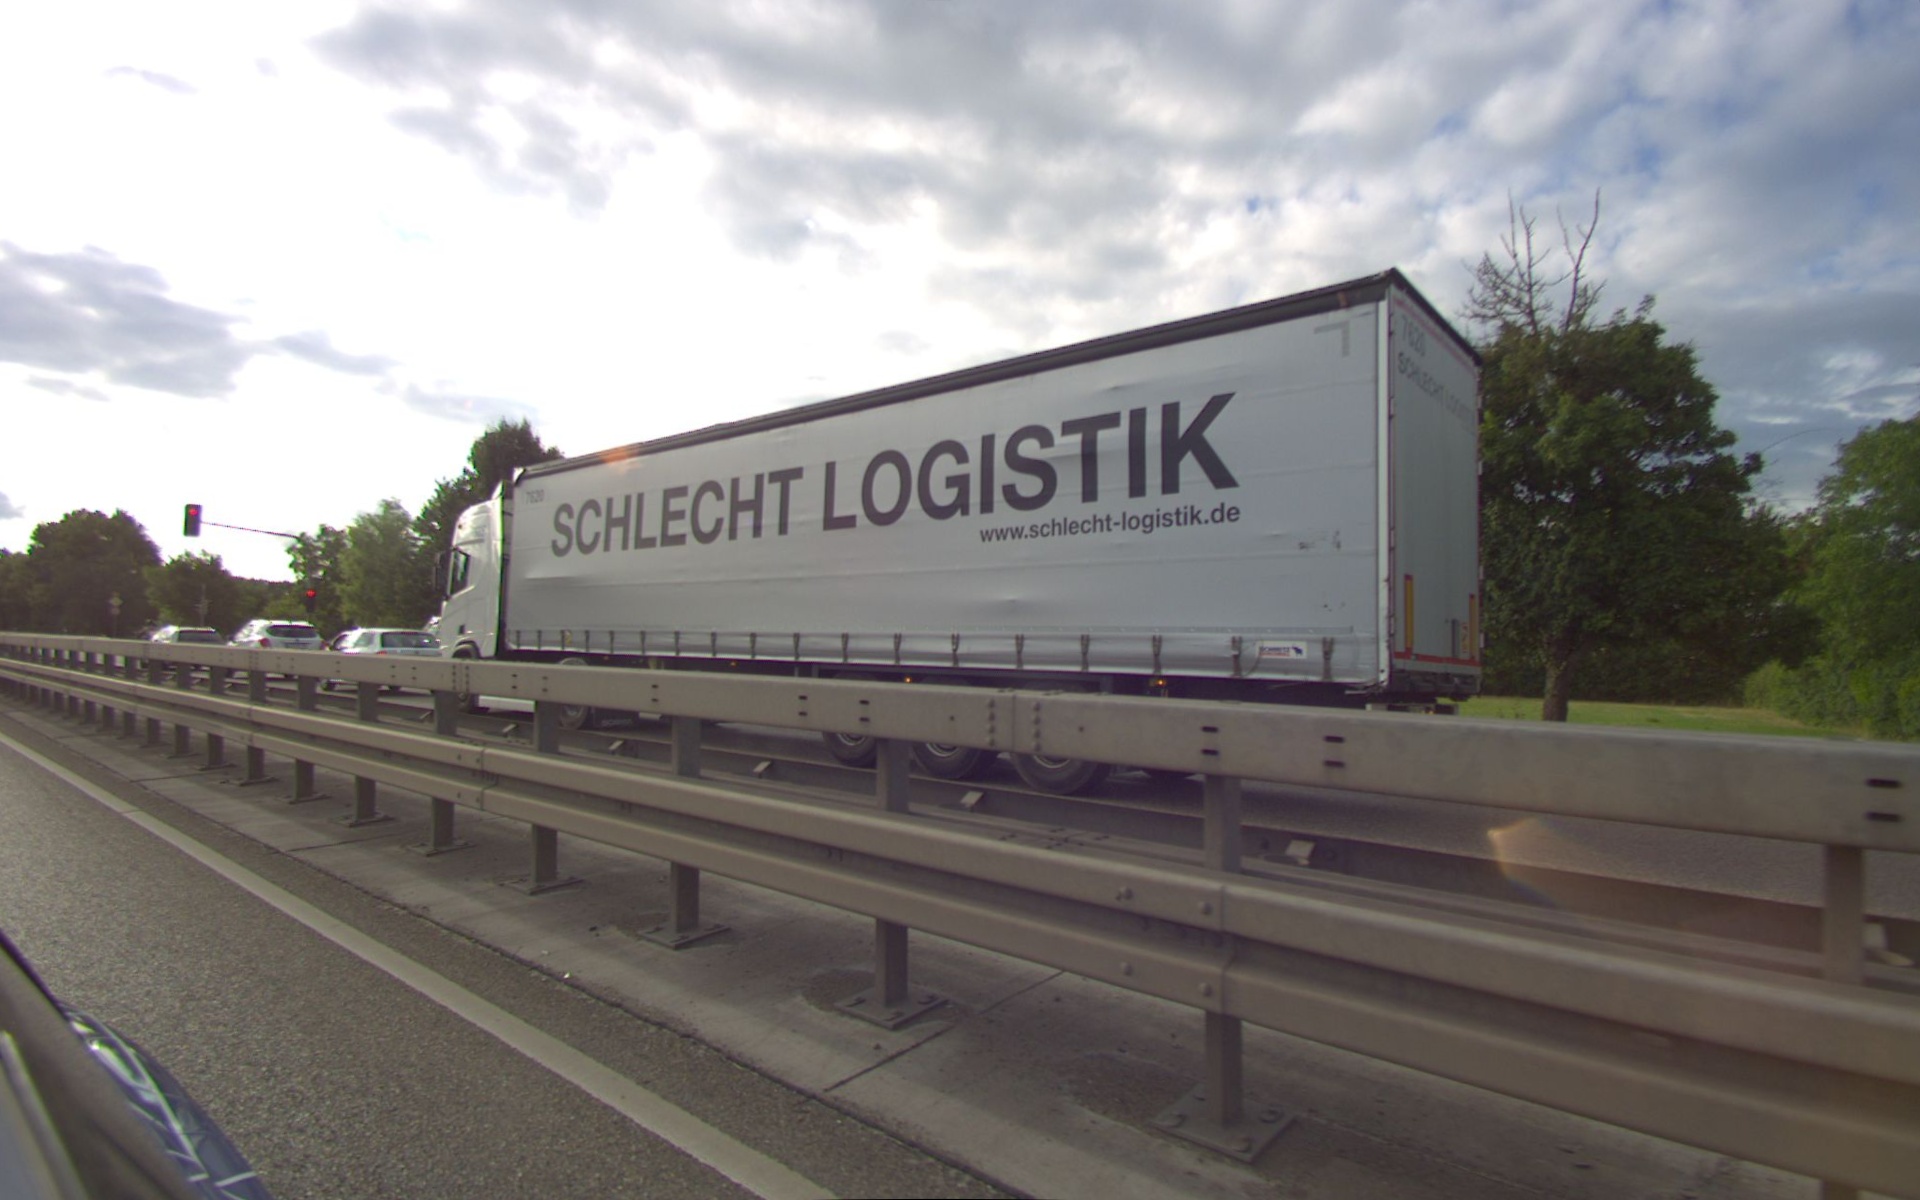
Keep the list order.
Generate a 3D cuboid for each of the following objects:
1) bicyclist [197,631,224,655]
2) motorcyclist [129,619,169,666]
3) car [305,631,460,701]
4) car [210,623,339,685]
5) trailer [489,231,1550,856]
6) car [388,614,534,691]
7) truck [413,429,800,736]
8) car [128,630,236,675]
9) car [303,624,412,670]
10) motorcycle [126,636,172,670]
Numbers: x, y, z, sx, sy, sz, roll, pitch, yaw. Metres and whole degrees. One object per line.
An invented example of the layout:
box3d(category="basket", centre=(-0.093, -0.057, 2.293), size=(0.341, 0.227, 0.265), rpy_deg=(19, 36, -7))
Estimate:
box3d(category="bicyclist", centre=(-46.777, 2.666, 63.133), size=(1.208, 1.462, 0.816), rpy_deg=(3, -4, -44))
box3d(category="motorcyclist", centre=(-30.482, 1.610, 38.036), size=(1.275, 1.722, 0.907), rpy_deg=(-1, -4, 41))
box3d(category="car", centre=(-13.251, 1.452, 23.137), size=(4.157, 1.455, 1.770), rpy_deg=(-1, -3, 41))
box3d(category="car", centre=(-19.462, 1.504, 28.665), size=(4.402, 1.622, 1.888), rpy_deg=(-1, -3, 41))
box3d(category="trailer", centre=(-0.915, -0.199, 12.606), size=(13.908, 4.182, 3.429), rpy_deg=(-1, -4, 41))
box3d(category="car", centre=(-14.492, 1.479, 29.283), size=(4.945, 2.029, 1.972), rpy_deg=(-1, -4, 41))
box3d(category="truck", centre=(-6.055, -0.103, 17.034), size=(6.046, 4.182, 3.438), rpy_deg=(-1, -5, 41))
box3d(category="car", centre=(-26.764, 1.759, 34.766), size=(5.149, 1.439, 1.888), rpy_deg=(-1, -3, 41))
box3d(category="car", centre=(-20.304, 1.565, 34.049), size=(4.181, 1.476, 1.888), rpy_deg=(-1, -3, 41))
box3d(category="motorcycle", centre=(-30.483, 1.994, 38.023), size=(2.477, 1.212, 0.907), rpy_deg=(-1, -4, 41))
